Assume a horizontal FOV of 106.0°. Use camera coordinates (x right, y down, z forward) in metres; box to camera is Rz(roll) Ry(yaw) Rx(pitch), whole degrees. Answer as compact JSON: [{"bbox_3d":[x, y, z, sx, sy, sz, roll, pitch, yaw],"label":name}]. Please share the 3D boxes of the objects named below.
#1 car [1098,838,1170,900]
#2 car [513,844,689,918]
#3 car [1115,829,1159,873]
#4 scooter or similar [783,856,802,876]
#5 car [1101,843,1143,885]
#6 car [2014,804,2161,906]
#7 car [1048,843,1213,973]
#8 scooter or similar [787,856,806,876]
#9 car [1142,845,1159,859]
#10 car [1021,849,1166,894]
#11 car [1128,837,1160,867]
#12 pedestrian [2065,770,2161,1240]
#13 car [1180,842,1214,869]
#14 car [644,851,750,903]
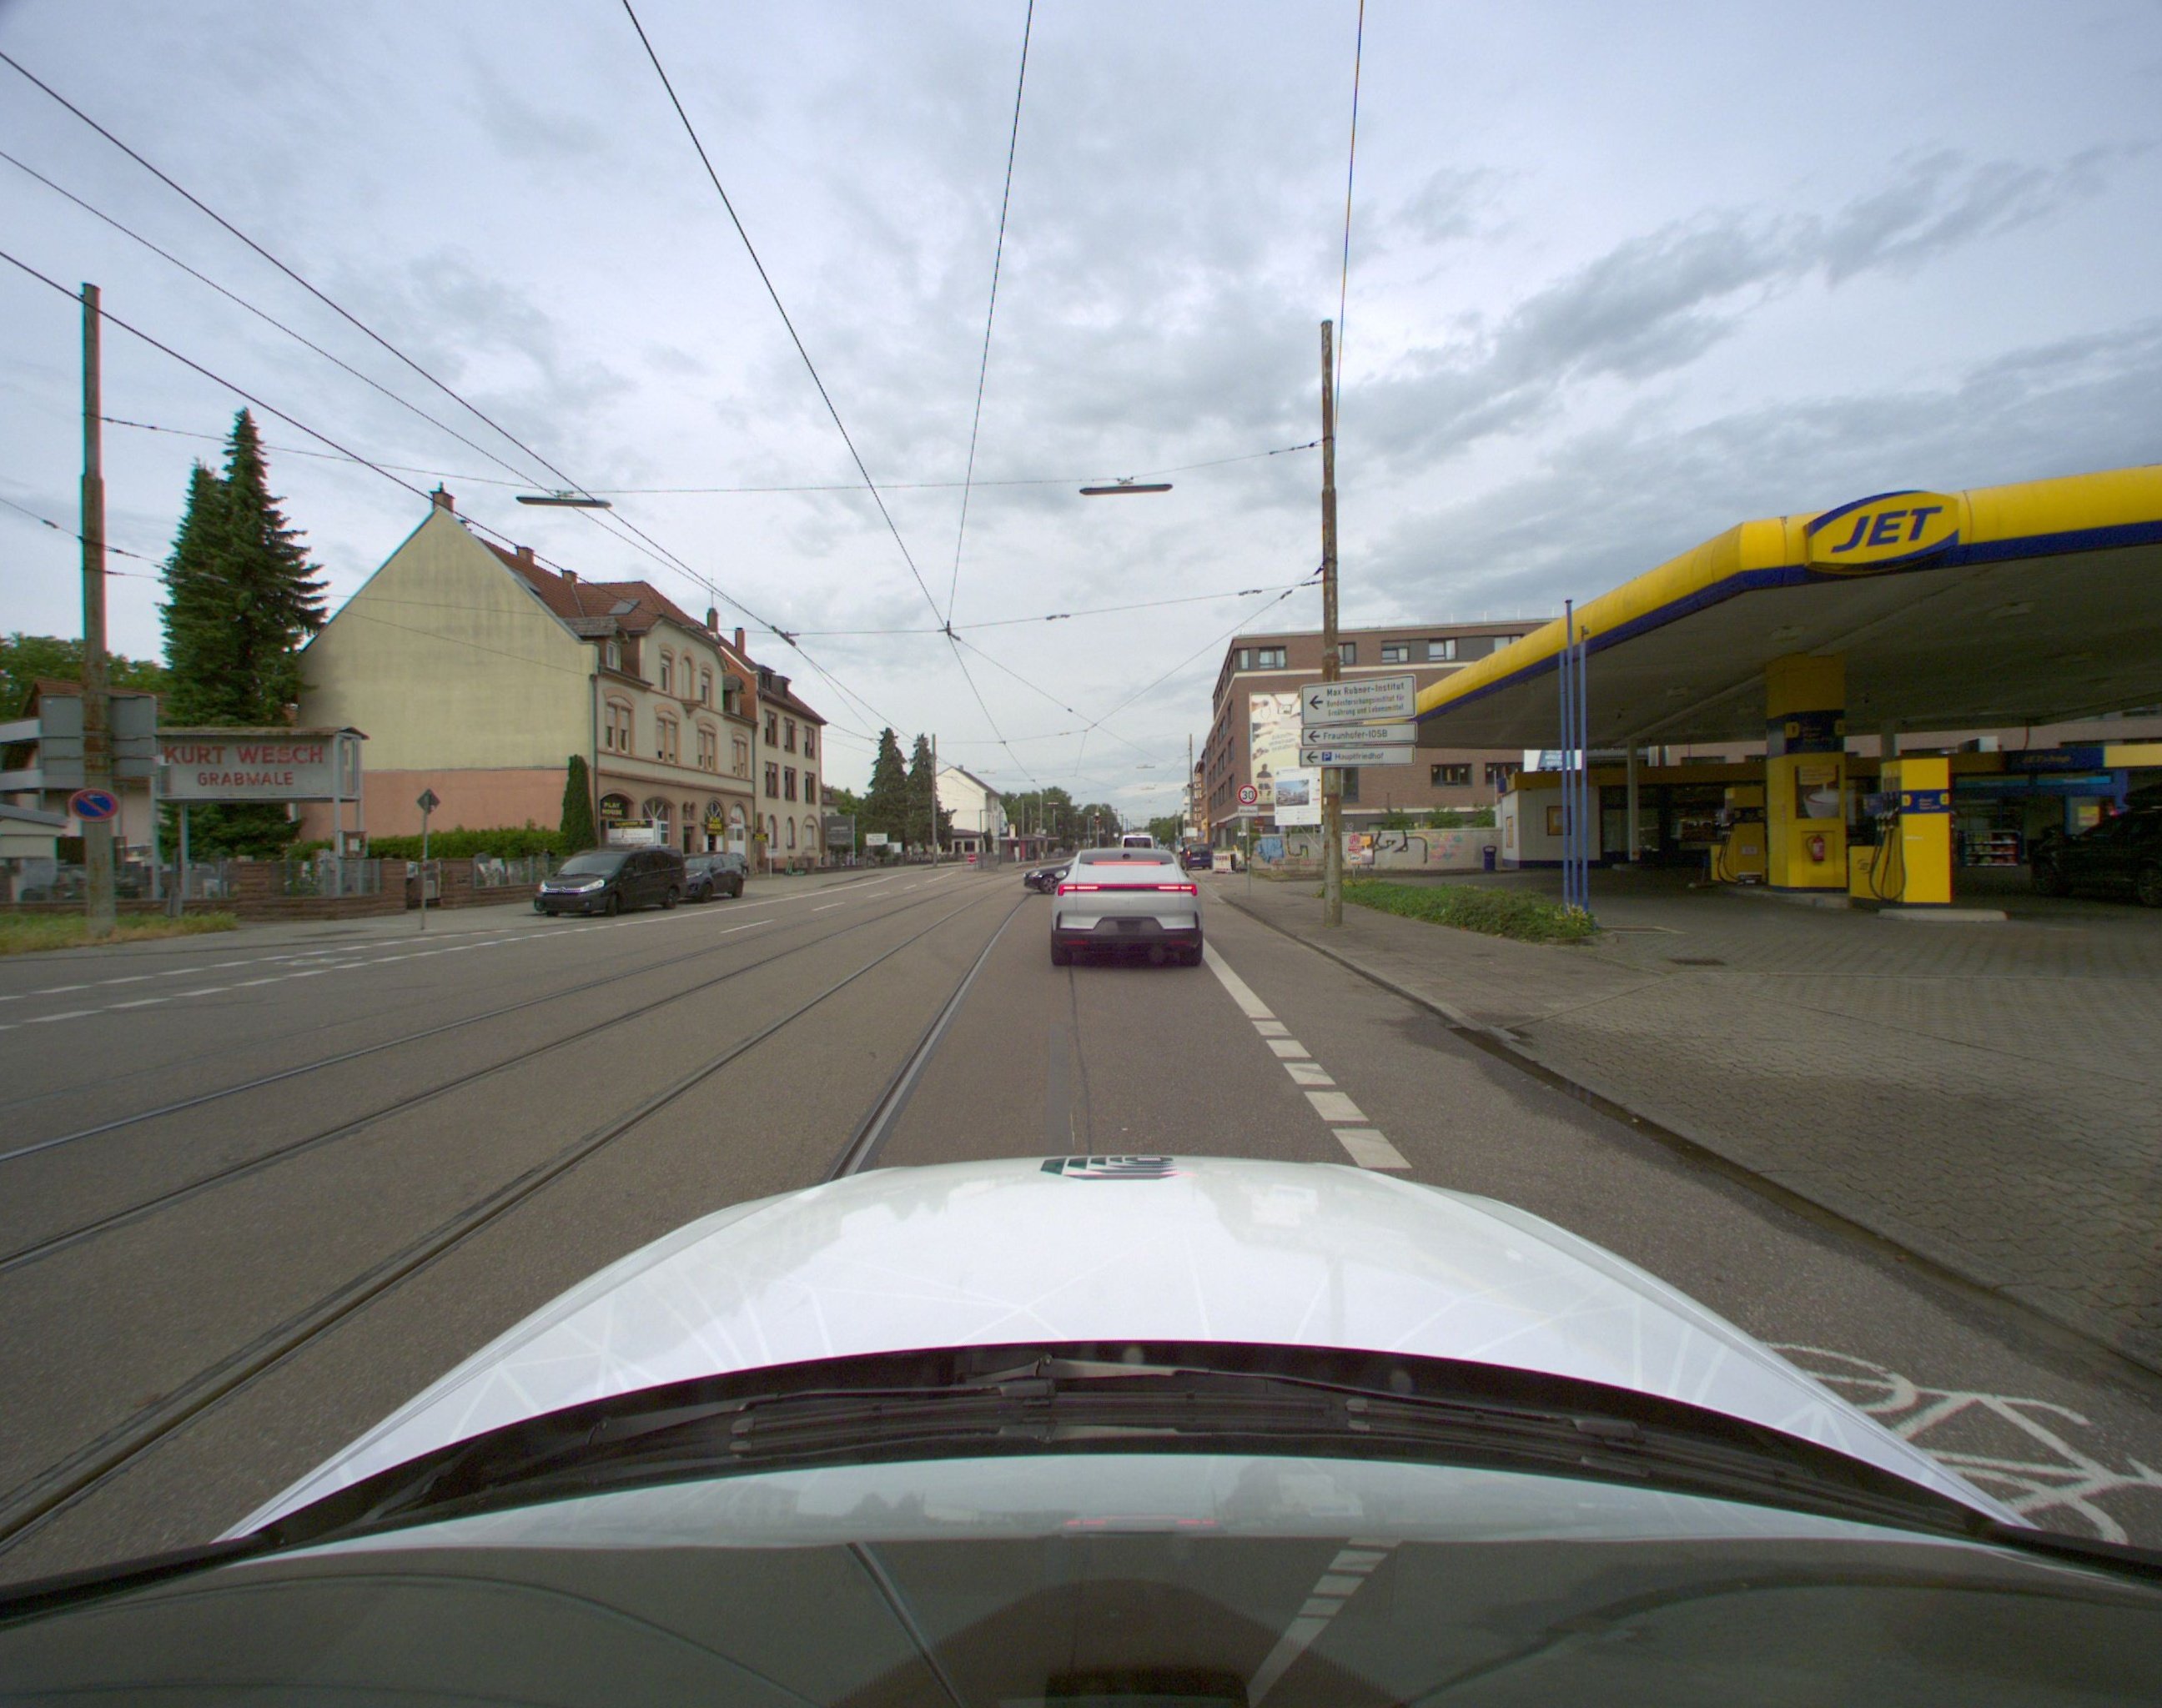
[{"bbox_3d":[1.552,0.447,25.294,1.963,1.756,3.836,0,0,-1],"label":"car"},{"bbox_3d":[-13.511,0.715,23.380,1.985,1.887,4.998,0,0,1],"label":"car"},{"bbox_3d":[3.196,-0.144,47.498,2.209,2.423,4.951,0,0,0],"label":"car"},{"bbox_3d":[-17.688,0.724,49.957,1.056,1.188,0.315,1,-1,-34],"label":"scooter or similar"},{"bbox_3d":[2.005,0.495,40.778,1.986,2.014,4.001,0,0,1],"label":"car"},{"bbox_3d":[17.647,-0.050,13.053,1.971,1.497,4.352,-2,1,26],"label":"car"},{"bbox_3d":[0.528,0.636,11.848,1.976,1.550,4.180,0,0,-2],"label":"car"},{"bbox_3d":[-17.305,0.722,49.502,1.056,1.188,0.315,1,-1,-34],"label":"scooter or similar"},{"bbox_3d":[10.158,-0.239,118.541,1.988,2.014,3.996,0,0,-2],"label":"car"},{"bbox_3d":[0.387,0.571,28.820,4.867,1.427,1.948,-1,0,-8],"label":"car"},{"bbox_3d":[4.649,-0.112,61.005,2.132,2.145,4.744,0,0,1],"label":"car"},{"bbox_3d":[4.436,0.536,2.800,0.968,1.738,0.861,-3,-1,1],"label":"pedestrian"},{"bbox_3d":[7.978,0.103,56.459,1.868,1.823,4.097,0,0,1],"label":"car"},{"bbox_3d":[-13.676,0.786,29.302,1.839,1.718,4.192,0,0,0],"label":"car"}]
